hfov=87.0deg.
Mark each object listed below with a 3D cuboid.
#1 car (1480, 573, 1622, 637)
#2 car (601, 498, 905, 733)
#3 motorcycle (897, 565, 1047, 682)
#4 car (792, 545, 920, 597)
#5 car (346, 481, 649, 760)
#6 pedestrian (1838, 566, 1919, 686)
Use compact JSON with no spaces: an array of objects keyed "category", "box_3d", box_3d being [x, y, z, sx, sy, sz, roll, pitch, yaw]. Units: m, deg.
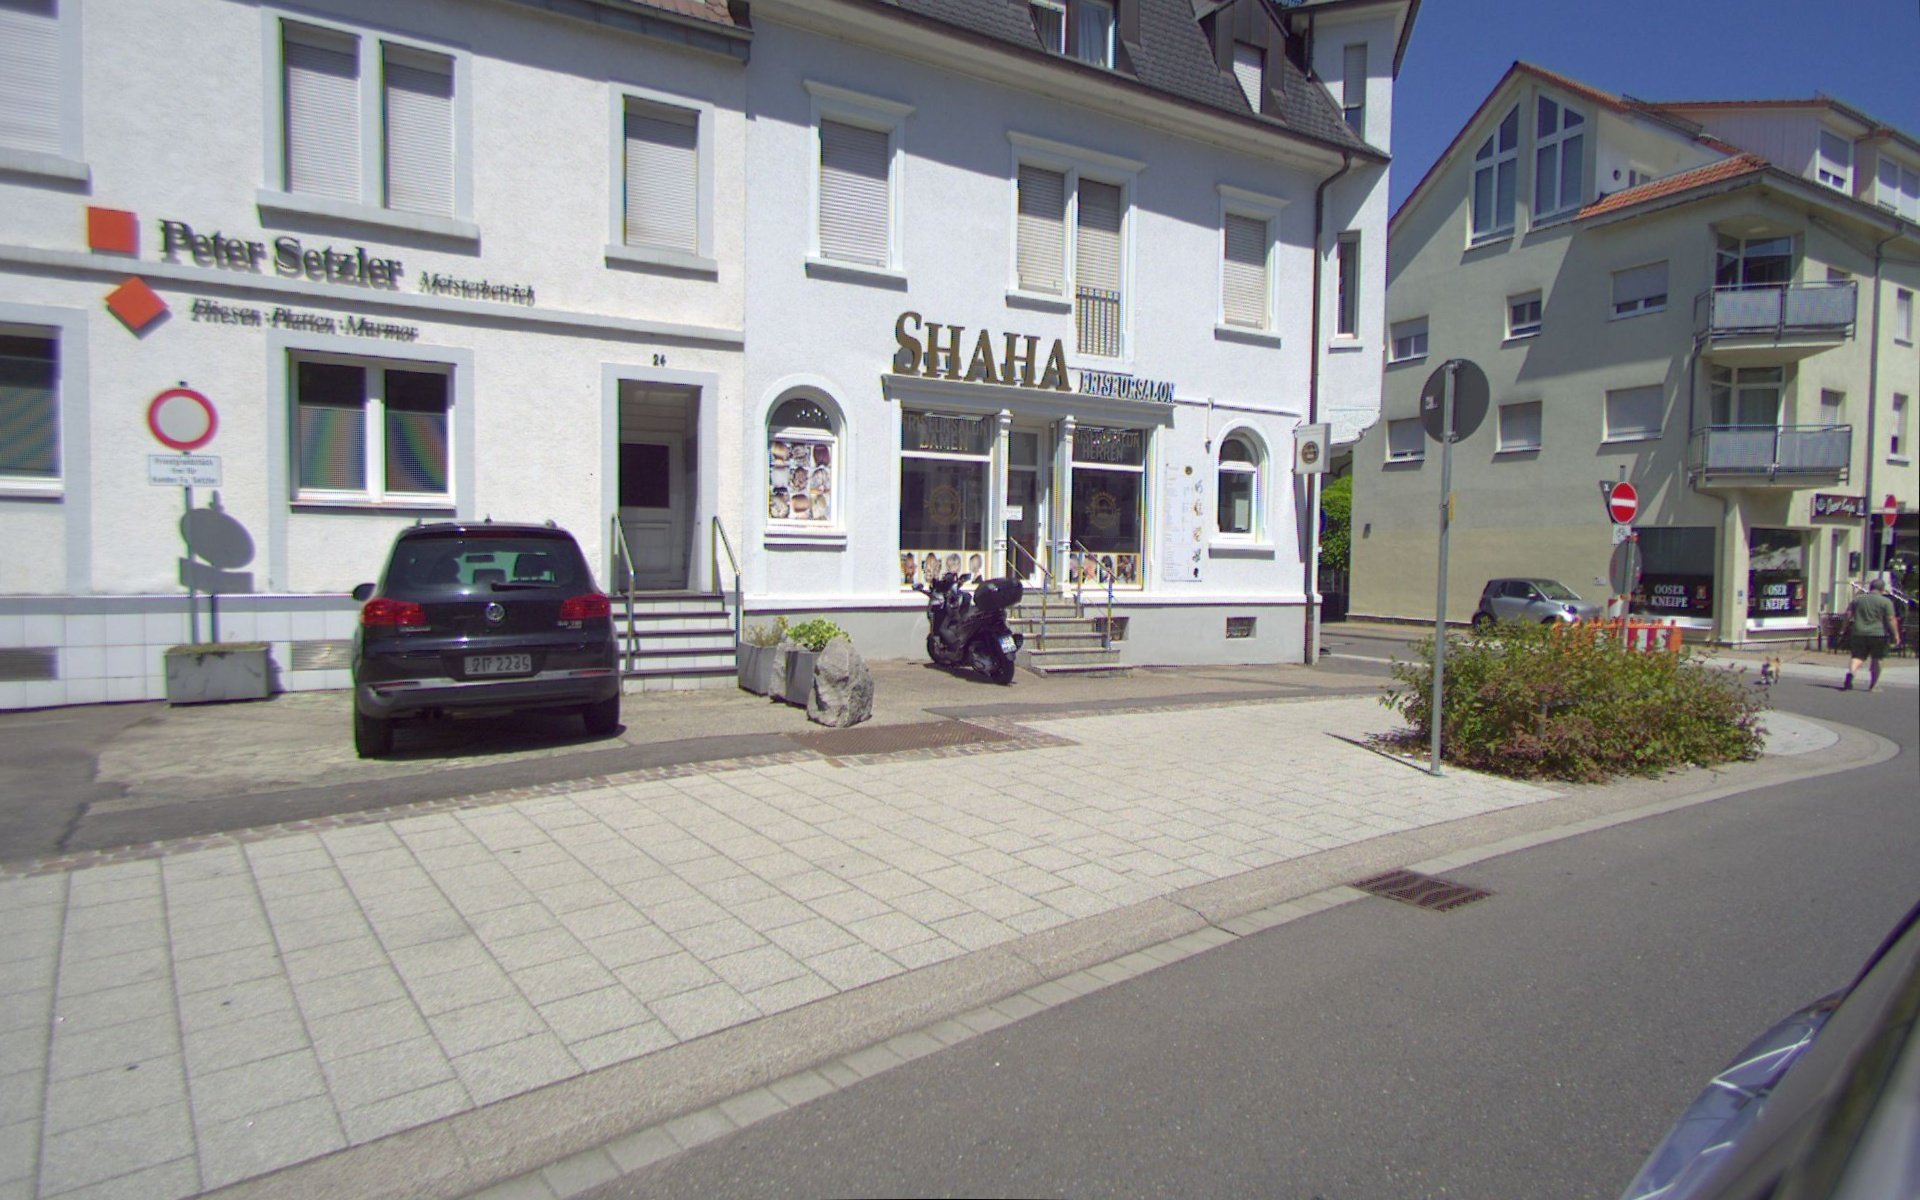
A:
[{"category":"car","box_3d":[14.920,0.072,25.655,1.499,1.489,2.741,-1,2,-27]},{"category":"car","box_3d":[-2.197,0.061,9.731,1.818,1.737,4.095,-1,1,-27]},{"category":"motorcycle","box_3d":[0.080,0.228,12.457,0.838,1.291,2.389,0,1,-26]},{"category":"car","box_3d":[-3.563,-0.973,34.481,3.916,1.660,2.004,0,2,-23]},{"category":"car","box_3d":[-3.946,0.076,8.530,1.818,1.737,4.095,-1,1,-27]},{"category":"pedestrian","box_3d":[14.487,0.394,15.837,0.826,1.818,0.750,2,1,-19]}]
